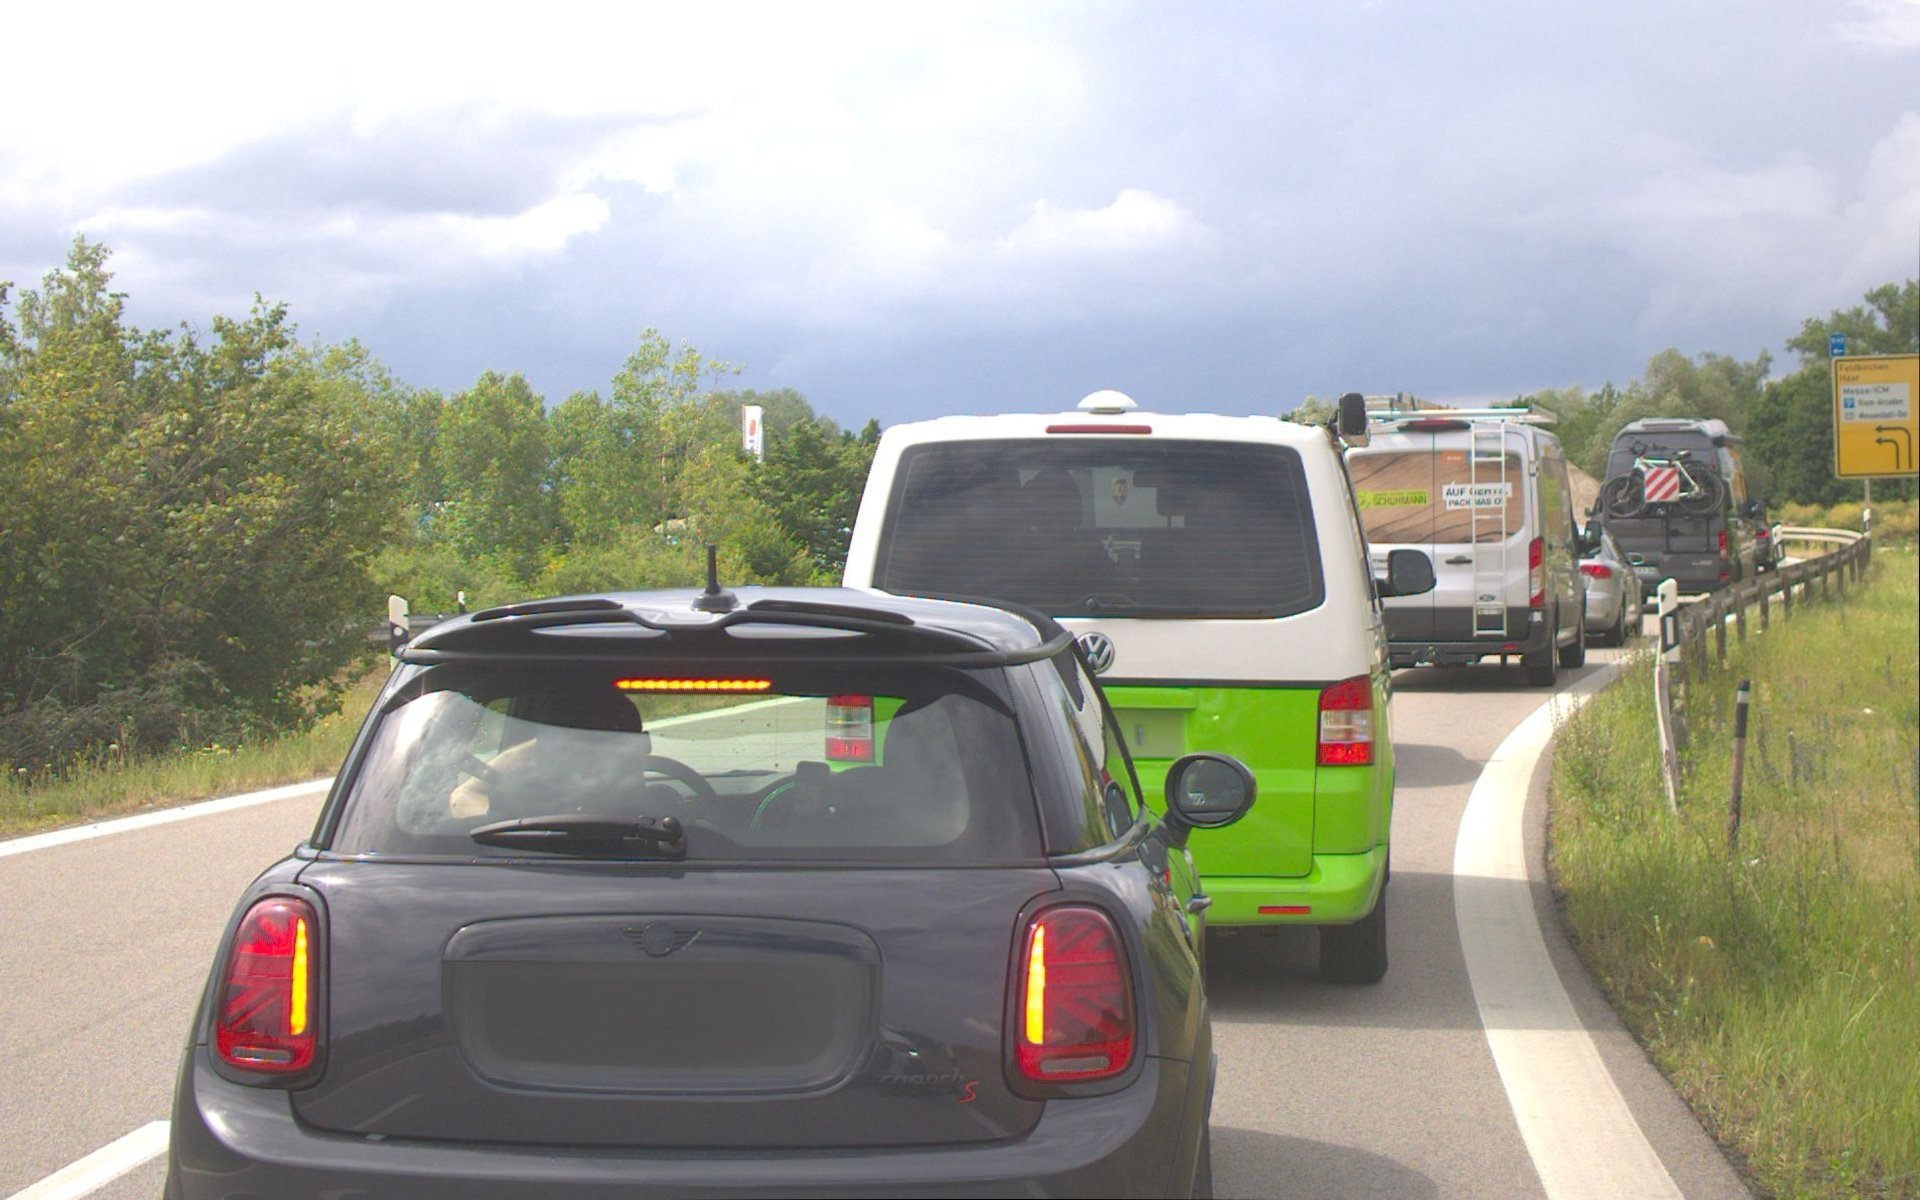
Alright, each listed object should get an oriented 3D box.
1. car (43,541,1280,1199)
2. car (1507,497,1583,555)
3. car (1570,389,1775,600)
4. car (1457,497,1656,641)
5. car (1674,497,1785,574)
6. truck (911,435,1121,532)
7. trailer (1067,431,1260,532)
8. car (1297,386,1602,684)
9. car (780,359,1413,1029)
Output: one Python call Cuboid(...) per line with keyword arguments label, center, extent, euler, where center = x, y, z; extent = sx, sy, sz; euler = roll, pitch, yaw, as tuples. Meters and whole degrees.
Cuboid(label="car", center=(-0.329, 0.664, 6.841), extent=(1.800, 1.541, 3.738), euler=(0, 1, 4))
Cuboid(label="car", center=(19.716, -2.482, 115.996), extent=(2.095, 1.876, 4.494), euler=(1, 1, 5))
Cuboid(label="car", center=(11.118, -1.558, 53.239), extent=(2.313, 3.058, 6.656), euler=(1, 1, 18))
Cuboid(label="car", center=(7.279, -0.376, 41.659), extent=(1.995, 1.636, 3.926), euler=(1, 1, 15))
Cuboid(label="car", center=(16.596, -1.364, 74.042), extent=(1.895, 1.583, 4.491), euler=(1, 1, 18))
Cuboid(label="truck", center=(2.303, -4.882, 146.025), extent=(2.837, 3.962, 10.026), euler=(0, 1, -42))
Cuboid(label="trailer", center=(8.137, -4.702, 138.701), extent=(3.036, 3.884, 8.772), euler=(0, 1, -34))
Cuboid(label="car", center=(4.827, -0.606, 33.174), extent=(2.213, 2.613, 5.530), euler=(1, 1, 15))
Cuboid(label="car", center=(0.679, 0.252, 12.657), extent=(1.911, 2.038, 4.180), euler=(0, 1, 8))
